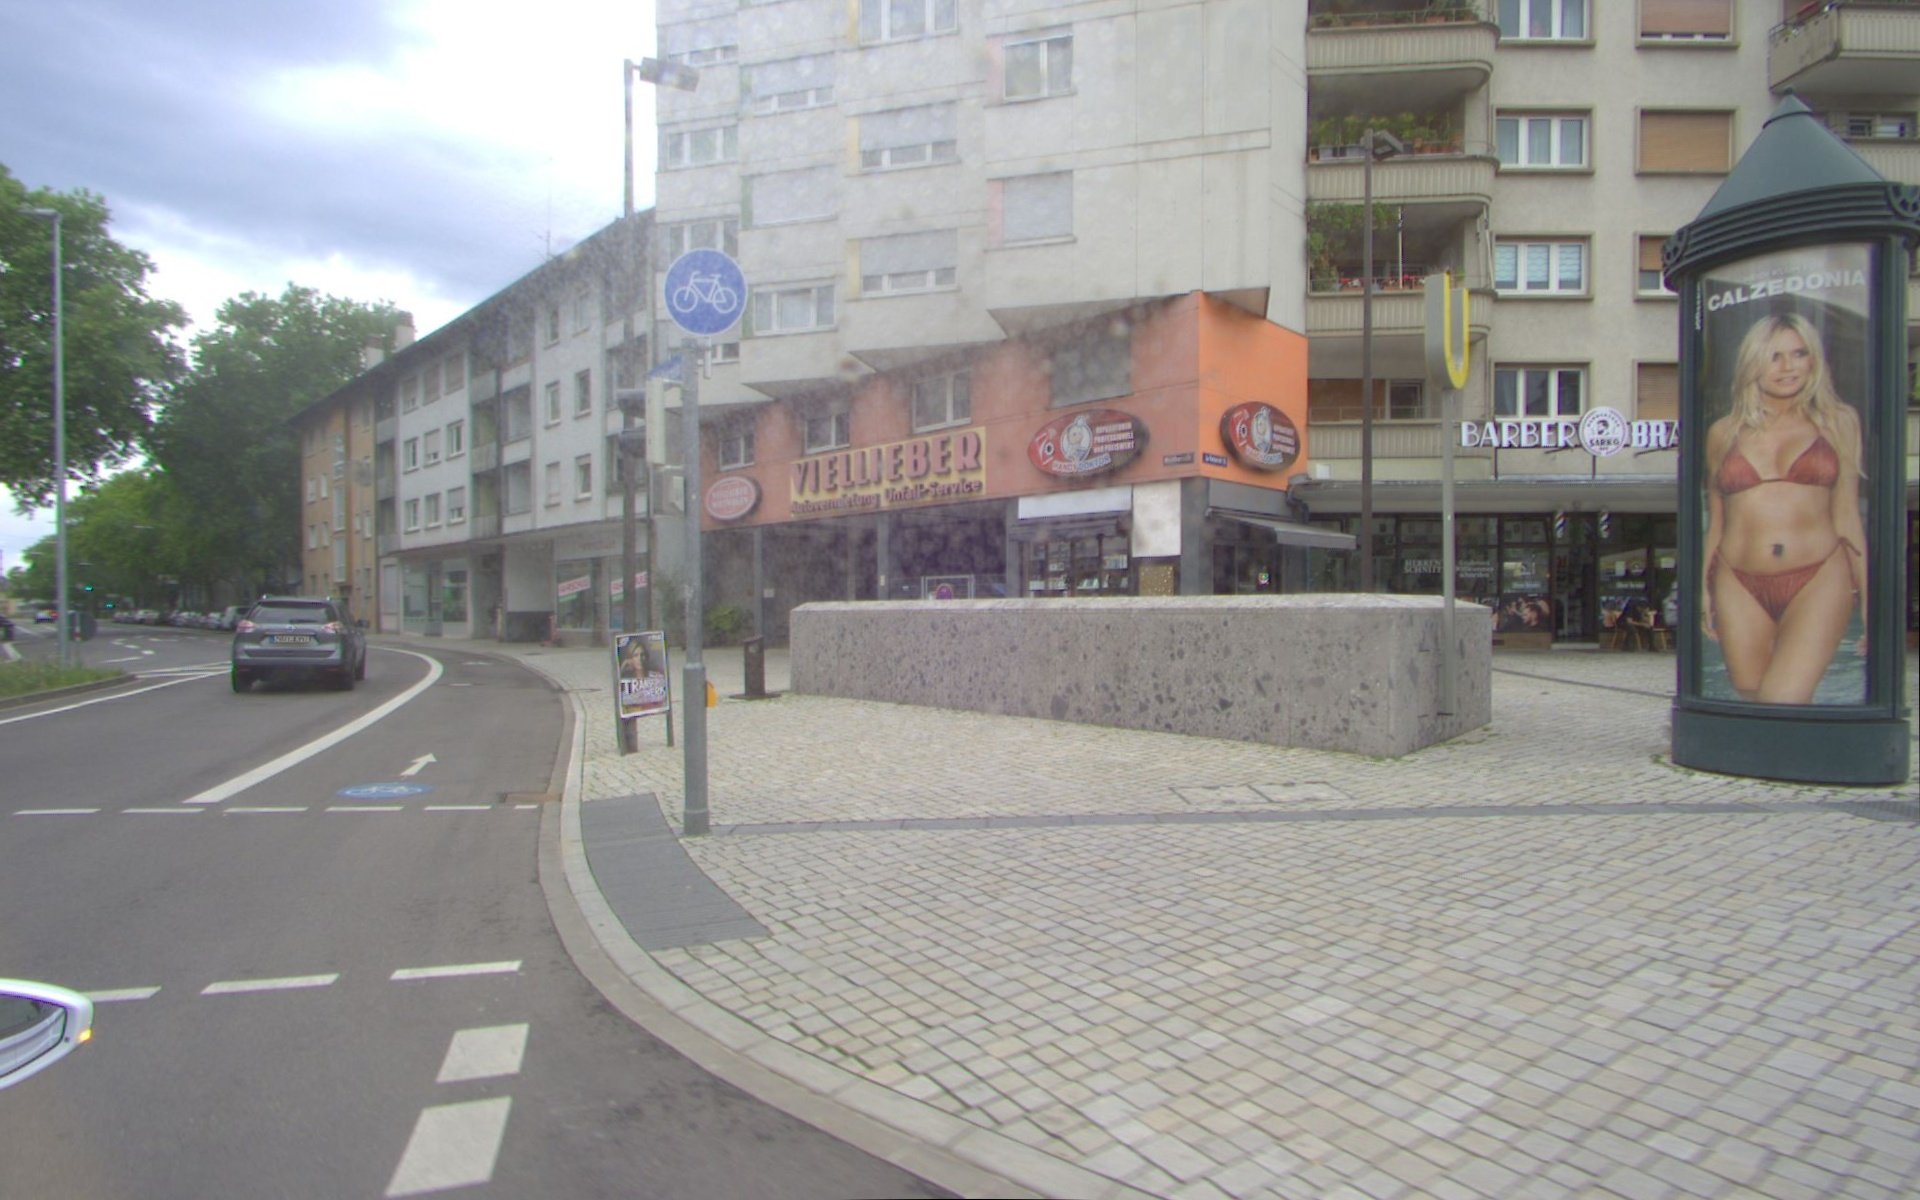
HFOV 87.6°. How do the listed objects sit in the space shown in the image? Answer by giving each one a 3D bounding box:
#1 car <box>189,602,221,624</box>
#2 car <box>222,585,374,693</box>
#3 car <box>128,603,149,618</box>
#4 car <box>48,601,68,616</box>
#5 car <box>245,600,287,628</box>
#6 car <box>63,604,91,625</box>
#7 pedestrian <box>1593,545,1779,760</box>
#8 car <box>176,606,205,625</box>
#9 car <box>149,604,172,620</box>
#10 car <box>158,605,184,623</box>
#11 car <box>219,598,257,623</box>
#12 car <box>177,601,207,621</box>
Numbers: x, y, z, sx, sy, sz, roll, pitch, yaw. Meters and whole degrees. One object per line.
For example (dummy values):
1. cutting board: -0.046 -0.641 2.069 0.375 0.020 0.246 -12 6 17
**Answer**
1. car: -64.585 1.093 85.641 1.851 1.798 3.945 2 -1 -43
2. car: -12.470 0.679 19.142 1.841 1.798 4.547 1 -1 -27
3. car: -105.024 1.325 128.044 1.851 1.798 3.945 2 -1 -43
4. car: -111.908 1.076 124.234 1.851 1.798 3.945 2 -1 -43
5. car: -48.137 0.966 69.448 1.851 1.798 3.945 2 -1 -43
6. car: -81.794 1.349 92.705 1.851 1.798 3.945 2 -1 -43
7. pedestrian: 6.692 0.461 9.298 1.131 1.888 0.805 0 2 10
8. car: -74.834 1.500 97.364 1.851 1.798 3.945 2 -1 -43
9. car: -94.123 1.392 117.922 1.851 1.798 3.945 2 -1 -43
10. car: -83.599 1.519 106.041 1.851 1.798 3.945 2 -1 -43
11. car: -53.999 0.776 74.881 1.851 1.798 3.945 2 -1 -43
12. car: -71.532 1.048 93.235 1.851 1.798 3.945 2 -1 -43
